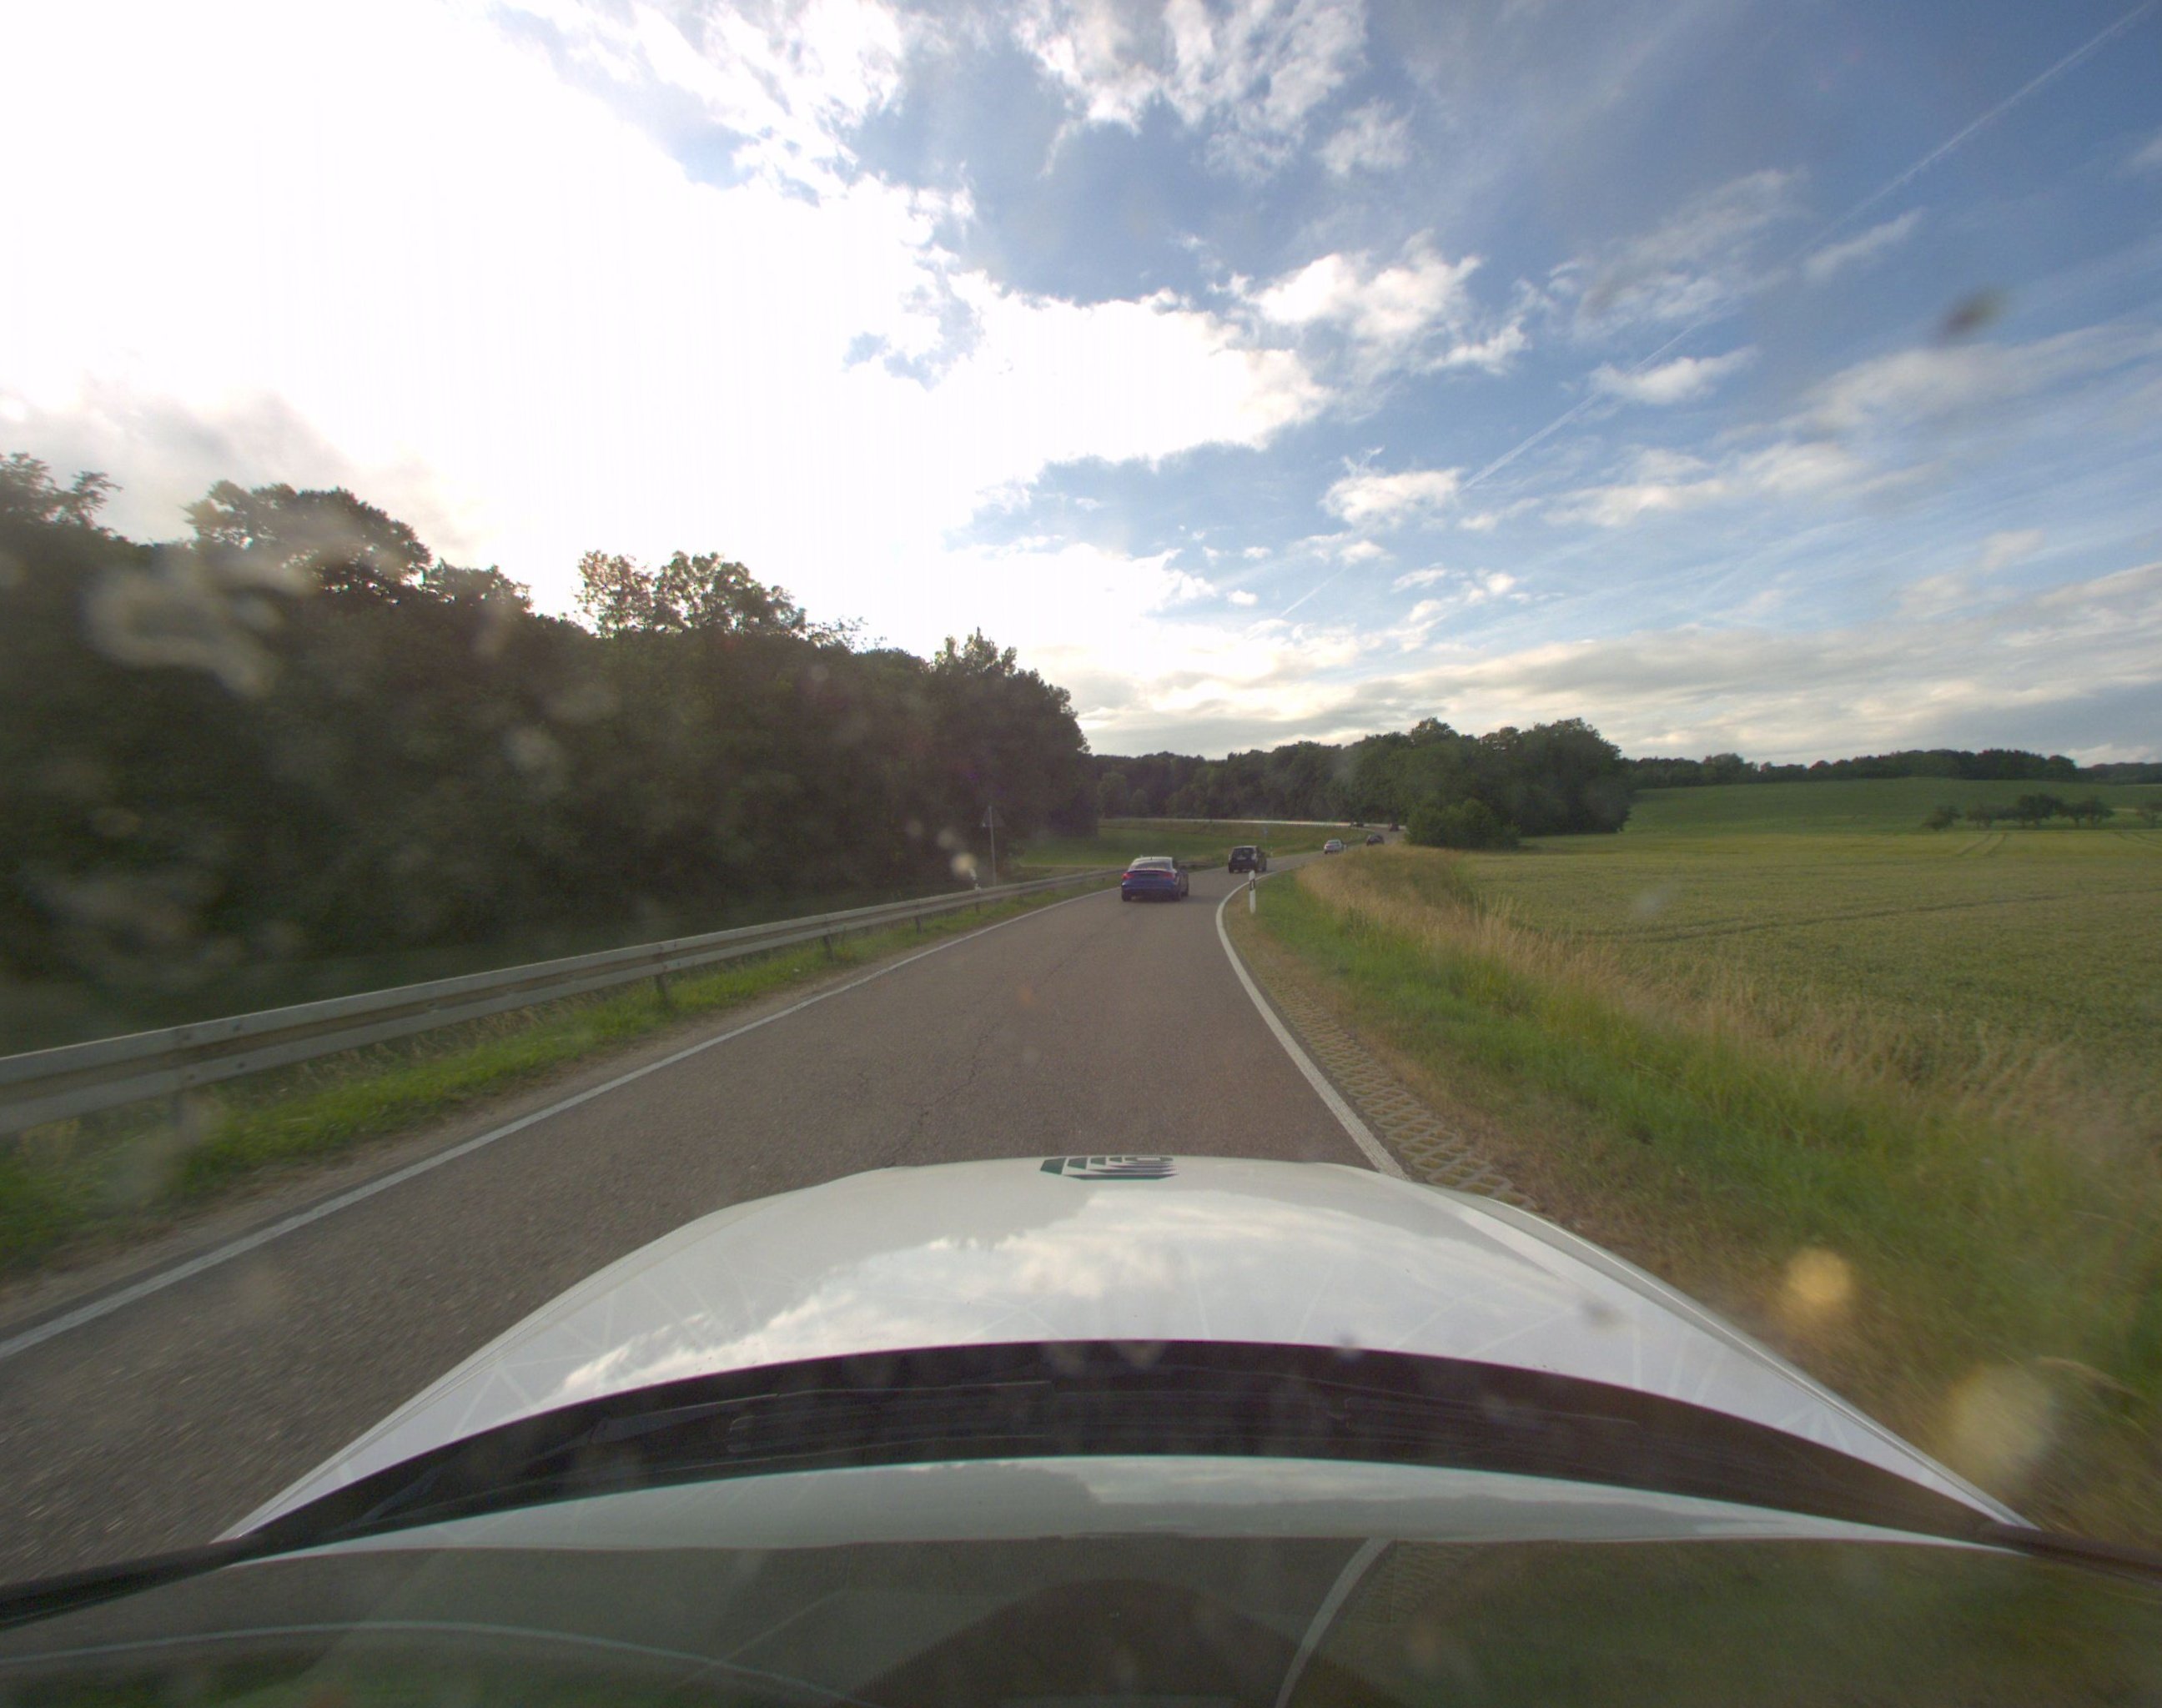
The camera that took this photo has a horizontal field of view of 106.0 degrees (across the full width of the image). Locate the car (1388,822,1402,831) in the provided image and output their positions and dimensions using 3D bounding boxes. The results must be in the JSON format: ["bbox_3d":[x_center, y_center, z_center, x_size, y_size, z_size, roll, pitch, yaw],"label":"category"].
[{"bbox_3d":[65.086,-5.679,168.648,1.980,1.678,4.192,-2,2,11],"label":"car"}]

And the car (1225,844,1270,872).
[{"bbox_3d":[10.307,0.254,50.192,1.845,1.569,4.022,-3,-1,23],"label":"car"}]

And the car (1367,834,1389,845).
[{"bbox_3d":[39.102,-1.916,107.166,1.457,1.227,3.319,-5,-1,44],"label":"car"}]

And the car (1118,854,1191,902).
[{"bbox_3d":[2.487,0.714,26.645,1.806,1.339,4.364,-2,0,12],"label":"car"}]

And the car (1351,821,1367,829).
[{"bbox_3d":[68.799,-7.192,201.479,1.996,1.771,3.982,-3,2,-13],"label":"car"}]

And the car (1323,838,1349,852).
[{"bbox_3d":[26.691,-0.979,85.334,1.666,1.376,4.025,-3,-1,30],"label":"car"}]
